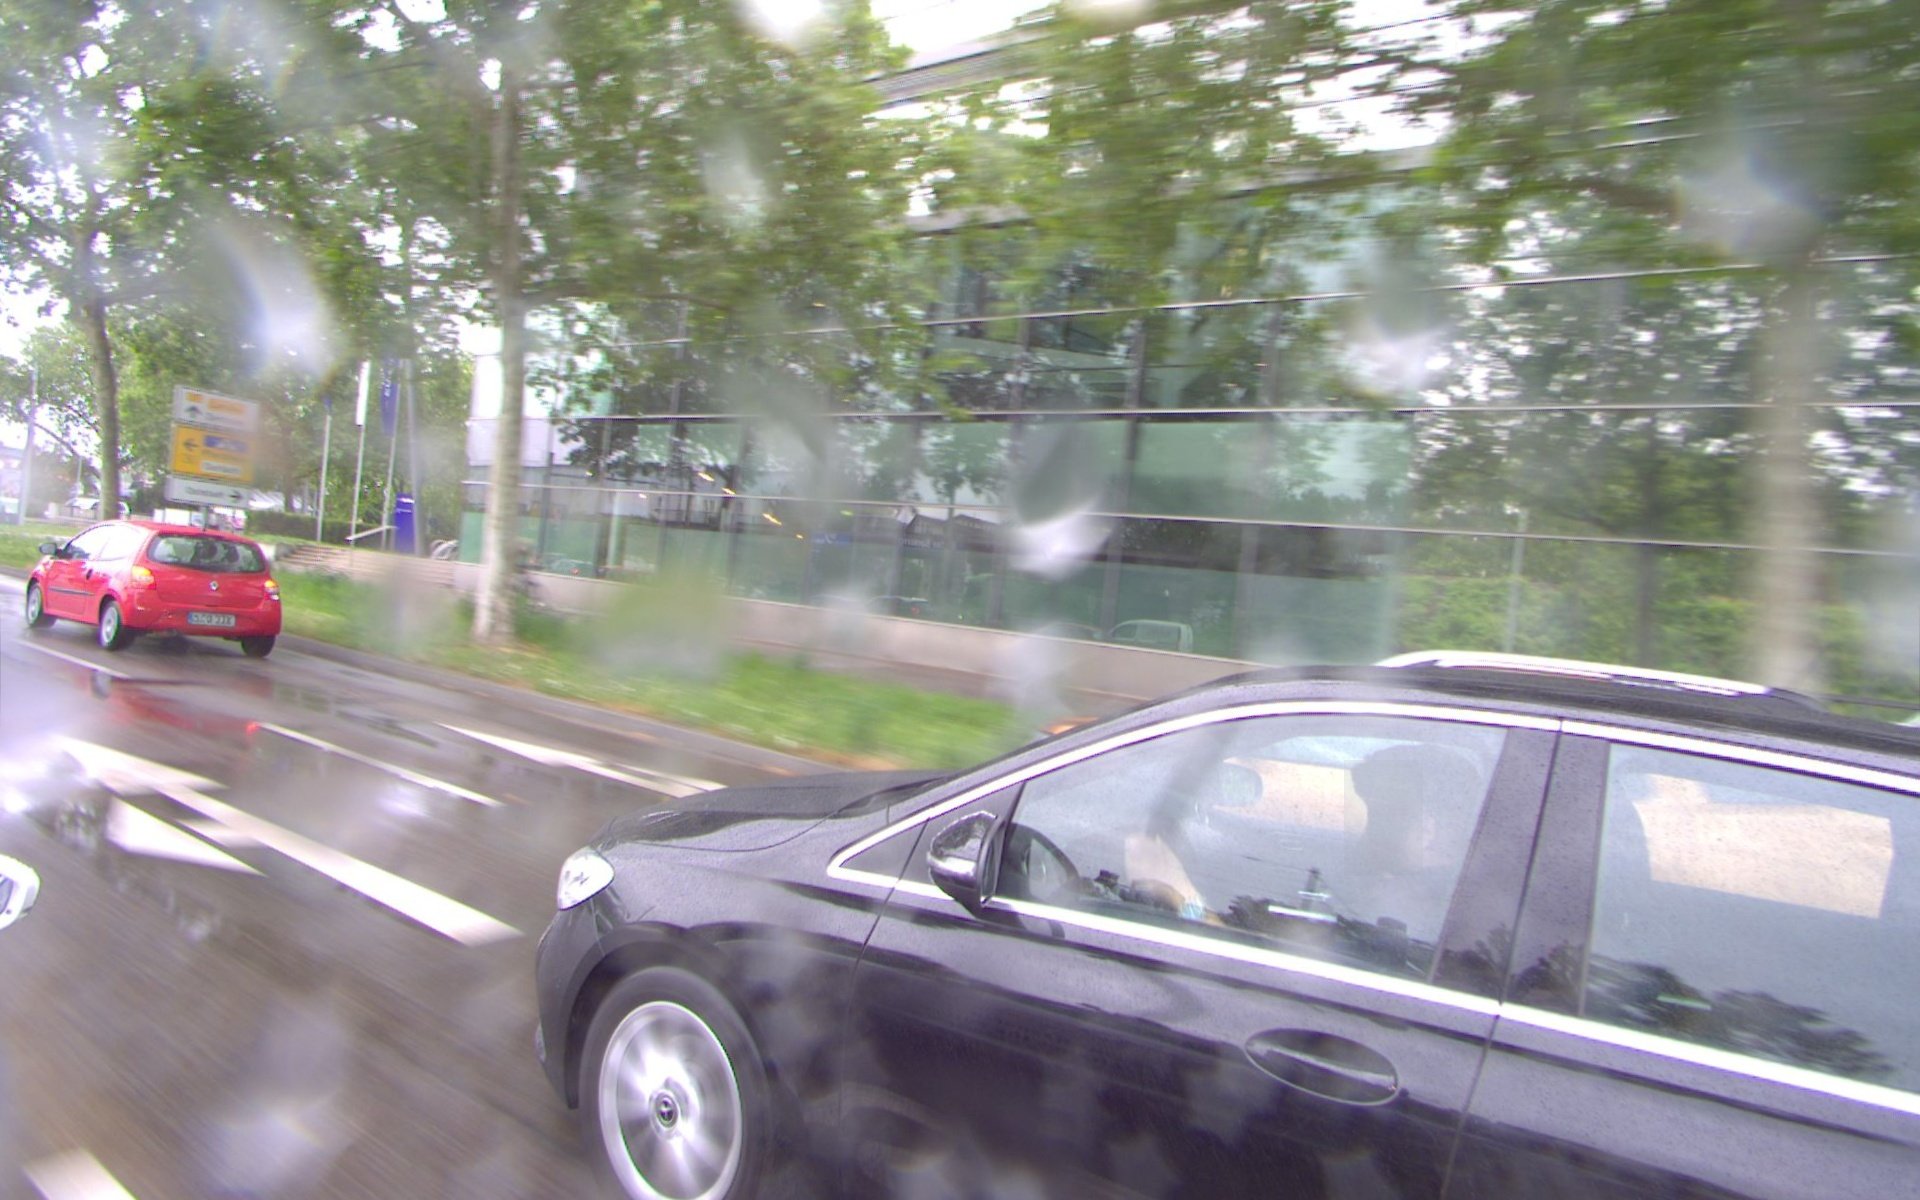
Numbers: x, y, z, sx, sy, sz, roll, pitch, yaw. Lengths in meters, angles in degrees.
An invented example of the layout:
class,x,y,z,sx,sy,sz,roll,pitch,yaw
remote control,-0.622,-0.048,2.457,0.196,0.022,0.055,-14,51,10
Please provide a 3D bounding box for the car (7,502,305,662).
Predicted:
class,x,y,z,sx,sy,sz,roll,pitch,yaw
car,-9.925,-0.238,12.380,3.561,1.509,1.681,6,-1,32

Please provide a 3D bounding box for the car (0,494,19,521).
class,x,y,z,sx,sy,sz,roll,pitch,yaw
car,-64.219,-6.265,65.522,1.899,1.671,4.338,6,0,-5

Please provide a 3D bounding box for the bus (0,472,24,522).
class,x,y,z,sx,sy,sz,roll,pitch,yaw
bus,-70.640,-7.697,66.542,3.220,3.309,12.261,7,0,31

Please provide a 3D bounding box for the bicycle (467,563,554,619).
class,x,y,z,sx,sy,sz,roll,pitch,yaw
bicycle,-10.581,-0.213,23.653,2.042,1.119,0.743,6,2,30

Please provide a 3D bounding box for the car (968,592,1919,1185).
class,x,y,z,sx,sy,sz,roll,pitch,yaw
car,2.329,1.013,5.091,4.103,1.653,1.900,6,1,34

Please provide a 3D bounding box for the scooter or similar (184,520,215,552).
class,x,y,z,sx,sy,sz,roll,pitch,yaw
scooter or similar,-29.294,-2.447,38.758,0.335,1.153,1.173,6,1,-7

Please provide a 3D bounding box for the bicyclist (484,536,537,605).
class,x,y,z,sx,sy,sz,roll,pitch,yaw
bicyclist,-10.564,-0.692,23.645,0.739,1.536,0.805,6,3,29

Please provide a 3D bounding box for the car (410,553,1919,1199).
class,x,y,z,sx,sy,sz,roll,pitch,yaw
car,0.861,0.899,2.346,4.018,1.542,1.873,6,0,30
